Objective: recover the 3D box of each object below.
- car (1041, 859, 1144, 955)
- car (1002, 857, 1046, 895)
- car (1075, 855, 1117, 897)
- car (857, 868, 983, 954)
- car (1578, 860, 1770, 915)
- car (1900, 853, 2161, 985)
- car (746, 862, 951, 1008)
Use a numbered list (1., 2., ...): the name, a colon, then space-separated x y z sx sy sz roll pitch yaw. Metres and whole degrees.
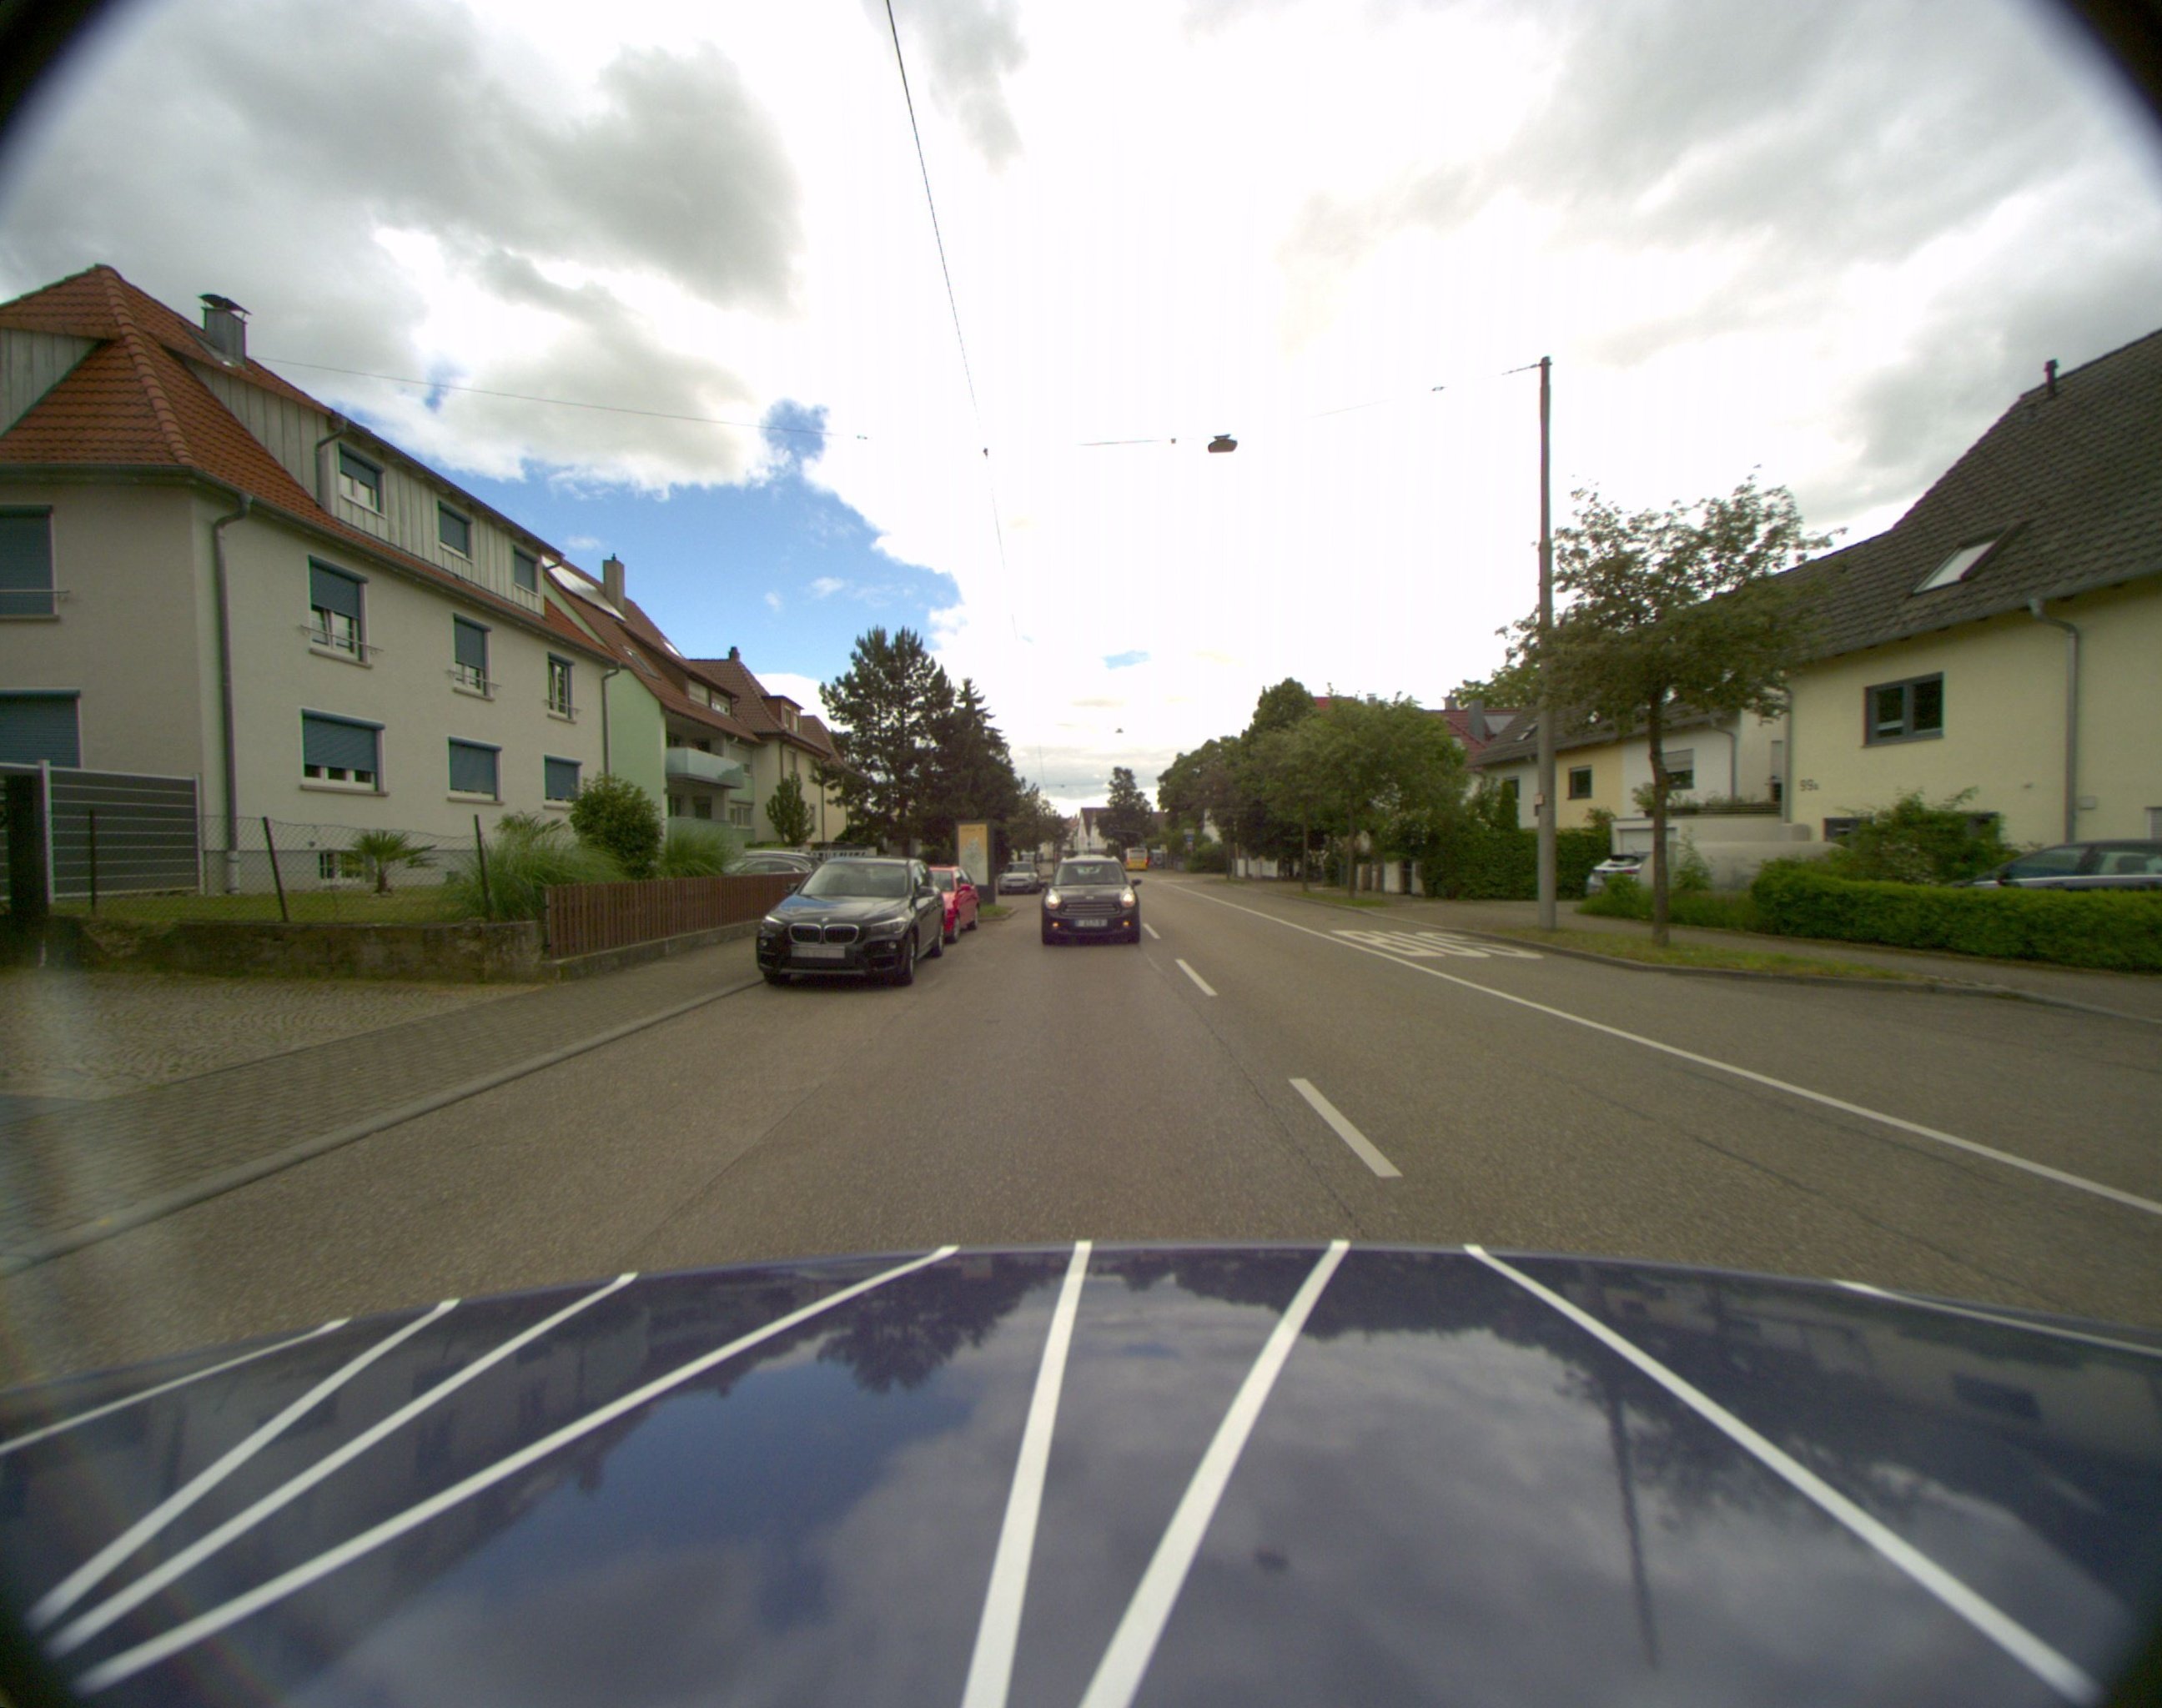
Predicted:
1. car: 0.207 0.913 14.717 1.744 1.573 3.684 -1 0 0
2. car: -2.507 0.925 34.040 1.680 1.573 3.684 -1 0 0
3. car: 0.586 0.834 31.189 1.590 1.598 3.684 -1 0 0
4. car: -3.053 1.023 15.101 1.680 1.414 3.684 -1 0 0
5. car: 14.771 0.801 19.049 3.561 1.263 1.703 -1 0 -2
6. car: 13.326 0.757 9.610 1.752 1.513 3.916 1 0 2
7. car: -2.979 0.944 10.663 1.728 1.582 4.156 1 0 -2
